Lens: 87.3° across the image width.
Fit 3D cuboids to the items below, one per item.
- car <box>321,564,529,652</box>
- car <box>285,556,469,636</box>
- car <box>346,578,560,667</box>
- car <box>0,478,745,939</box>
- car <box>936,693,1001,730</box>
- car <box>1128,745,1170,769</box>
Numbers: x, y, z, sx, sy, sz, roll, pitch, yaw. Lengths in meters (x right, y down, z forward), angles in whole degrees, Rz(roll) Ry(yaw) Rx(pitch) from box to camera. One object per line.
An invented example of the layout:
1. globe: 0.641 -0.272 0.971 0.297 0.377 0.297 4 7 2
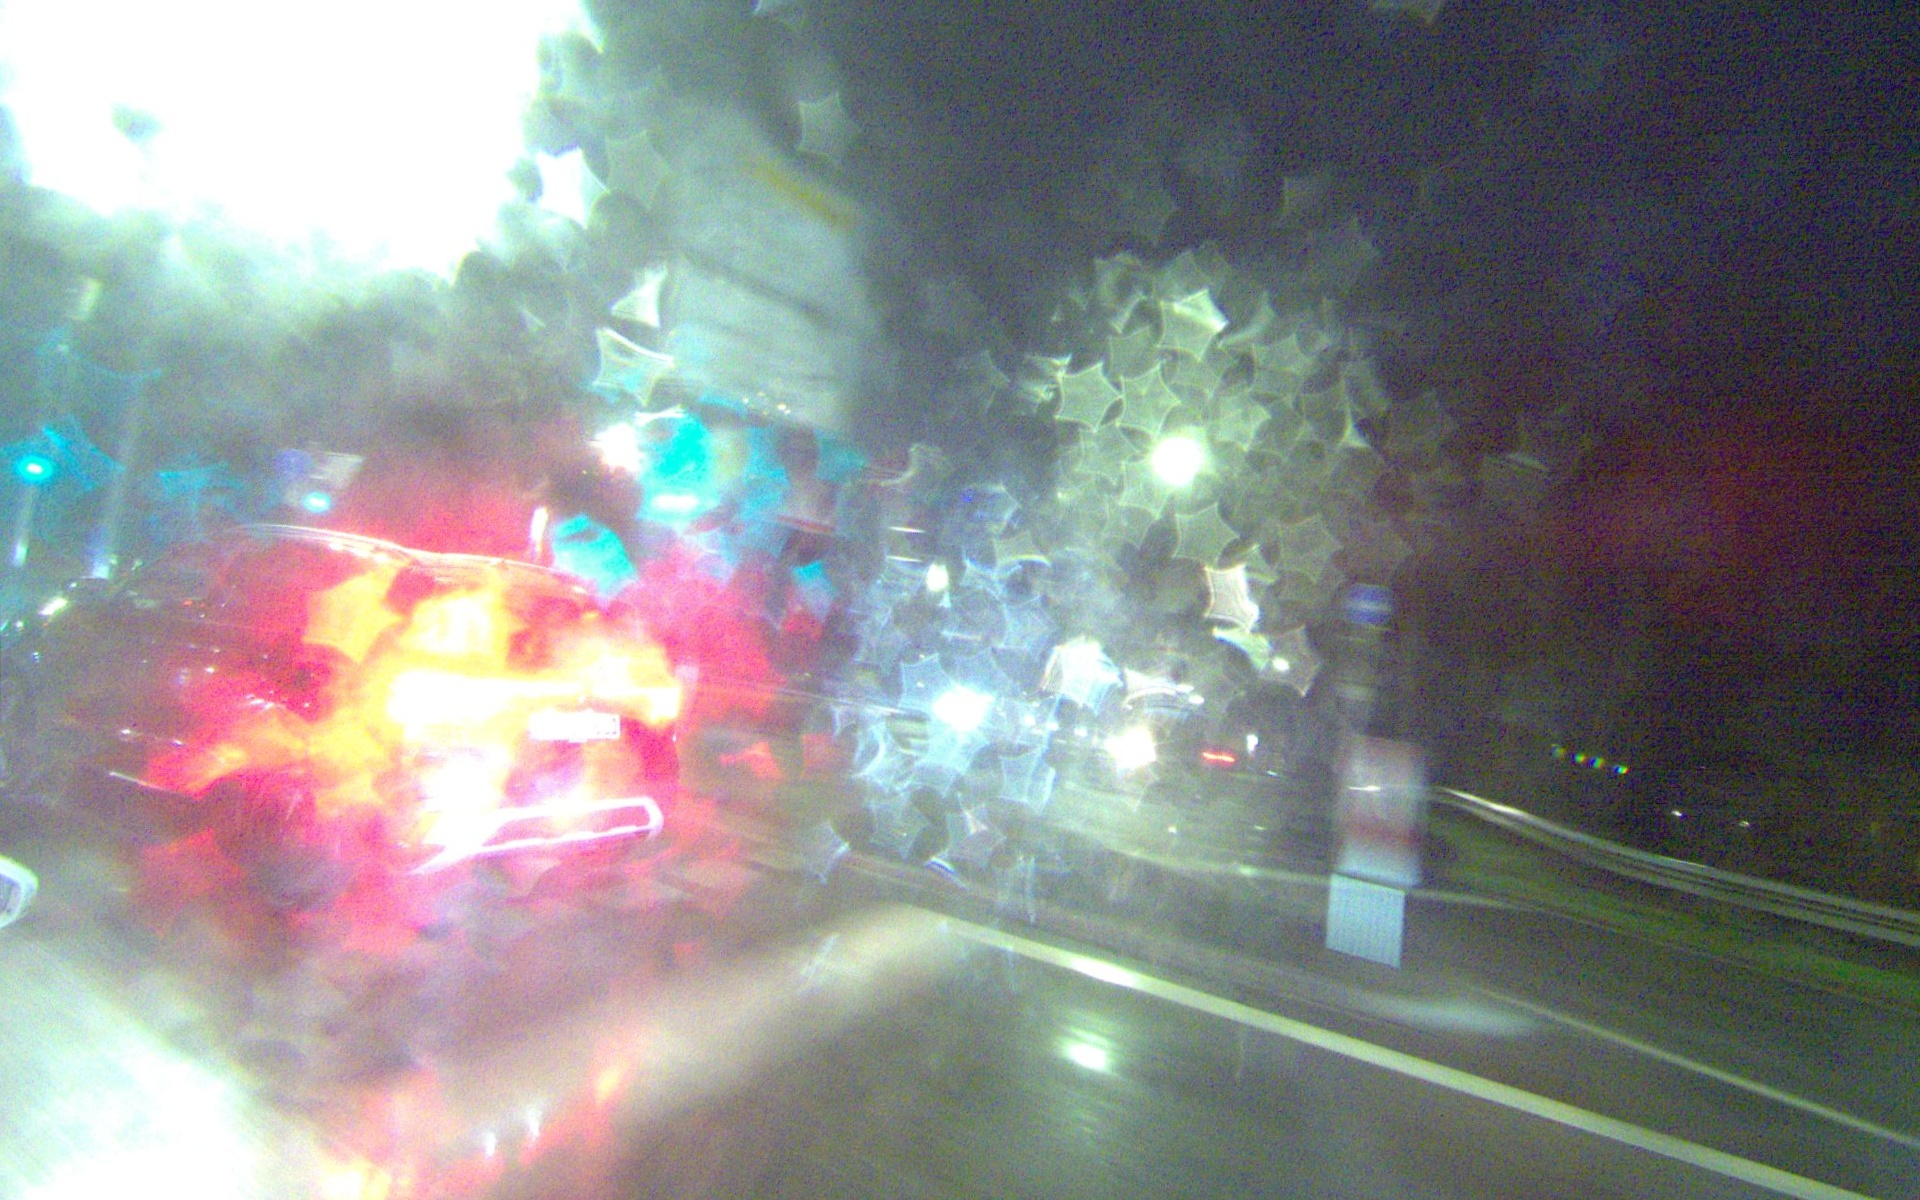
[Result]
1. car: -14.324 0.274 27.216 1.826 1.534 4.498 8 -4 31
2. car: -17.055 -0.059 29.626 1.826 1.534 4.178 8 -4 31
3. car: -11.783 0.584 23.657 1.718 1.359 4.056 8 -4 31
4. car: -3.301 0.393 5.266 3.890 1.537 1.684 6 -5 26
5. car: 0.526 6.580 59.109 1.796 1.657 3.998 8 -4 32
6. car: 13.766 11.383 72.971 1.717 1.359 3.913 8 -4 29
